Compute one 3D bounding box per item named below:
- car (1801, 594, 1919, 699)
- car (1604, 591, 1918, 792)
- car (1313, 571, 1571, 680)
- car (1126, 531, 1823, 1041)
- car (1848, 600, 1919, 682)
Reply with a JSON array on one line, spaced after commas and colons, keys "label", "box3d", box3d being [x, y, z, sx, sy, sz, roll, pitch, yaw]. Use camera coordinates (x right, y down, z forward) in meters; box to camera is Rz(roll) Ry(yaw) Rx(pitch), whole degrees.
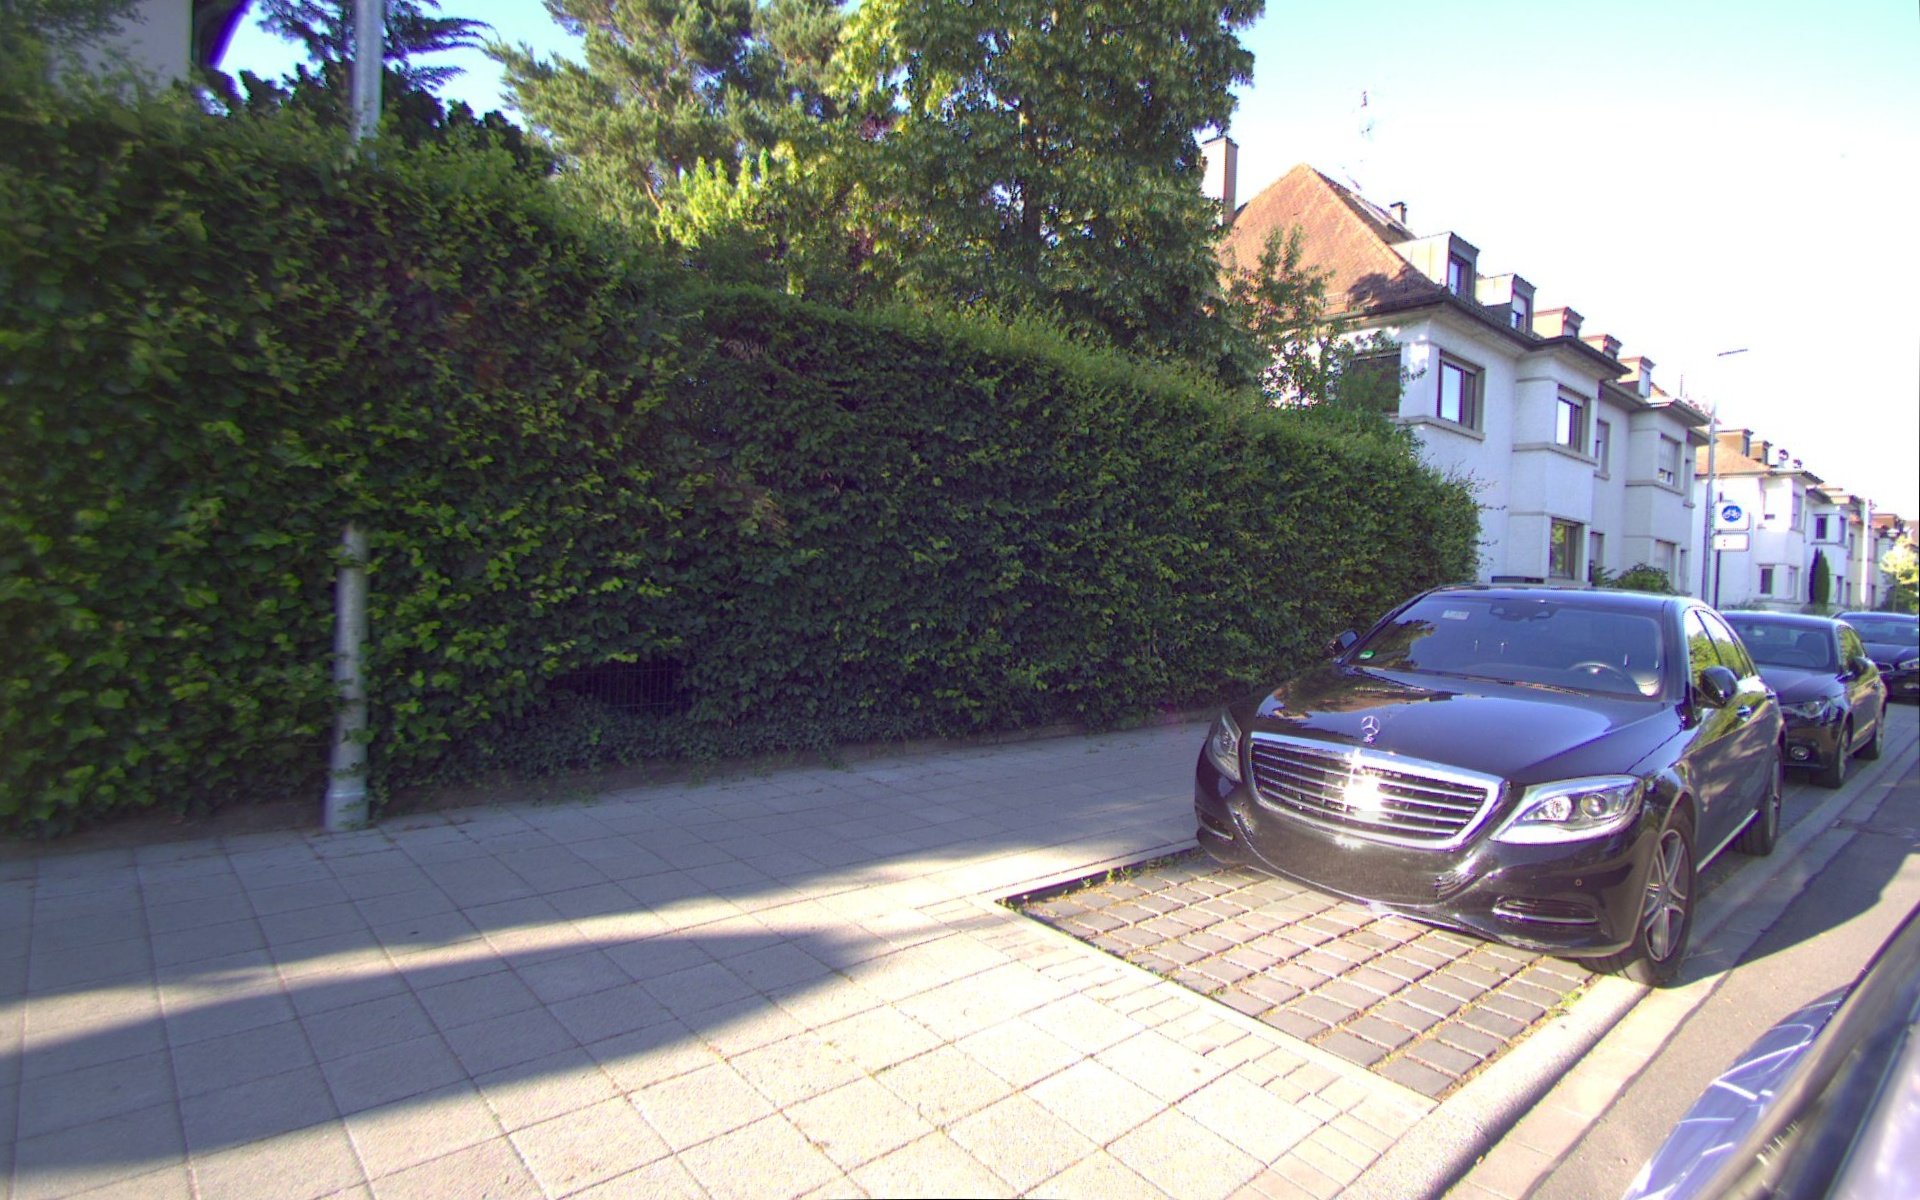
[{"label": "car", "box3d": [16.033, 0.746, 17.442, 4.183, 1.492, 1.750, 1, 5, -43]}, {"label": "car", "box3d": [7.772, 0.719, 9.689, 3.868, 1.445, 1.644, 1, 3, -42]}, {"label": "car", "box3d": [8.308, 0.358, 17.628, 3.637, 1.514, 1.752, 6, 4, 45]}, {"label": "car", "box3d": [3.128, 0.550, 5.493, 4.792, 1.561, 1.861, 0, 3, -44]}, {"label": "car", "box3d": [19.882, 0.829, 20.998, 3.916, 1.489, 1.721, 1, 4, -43]}]
